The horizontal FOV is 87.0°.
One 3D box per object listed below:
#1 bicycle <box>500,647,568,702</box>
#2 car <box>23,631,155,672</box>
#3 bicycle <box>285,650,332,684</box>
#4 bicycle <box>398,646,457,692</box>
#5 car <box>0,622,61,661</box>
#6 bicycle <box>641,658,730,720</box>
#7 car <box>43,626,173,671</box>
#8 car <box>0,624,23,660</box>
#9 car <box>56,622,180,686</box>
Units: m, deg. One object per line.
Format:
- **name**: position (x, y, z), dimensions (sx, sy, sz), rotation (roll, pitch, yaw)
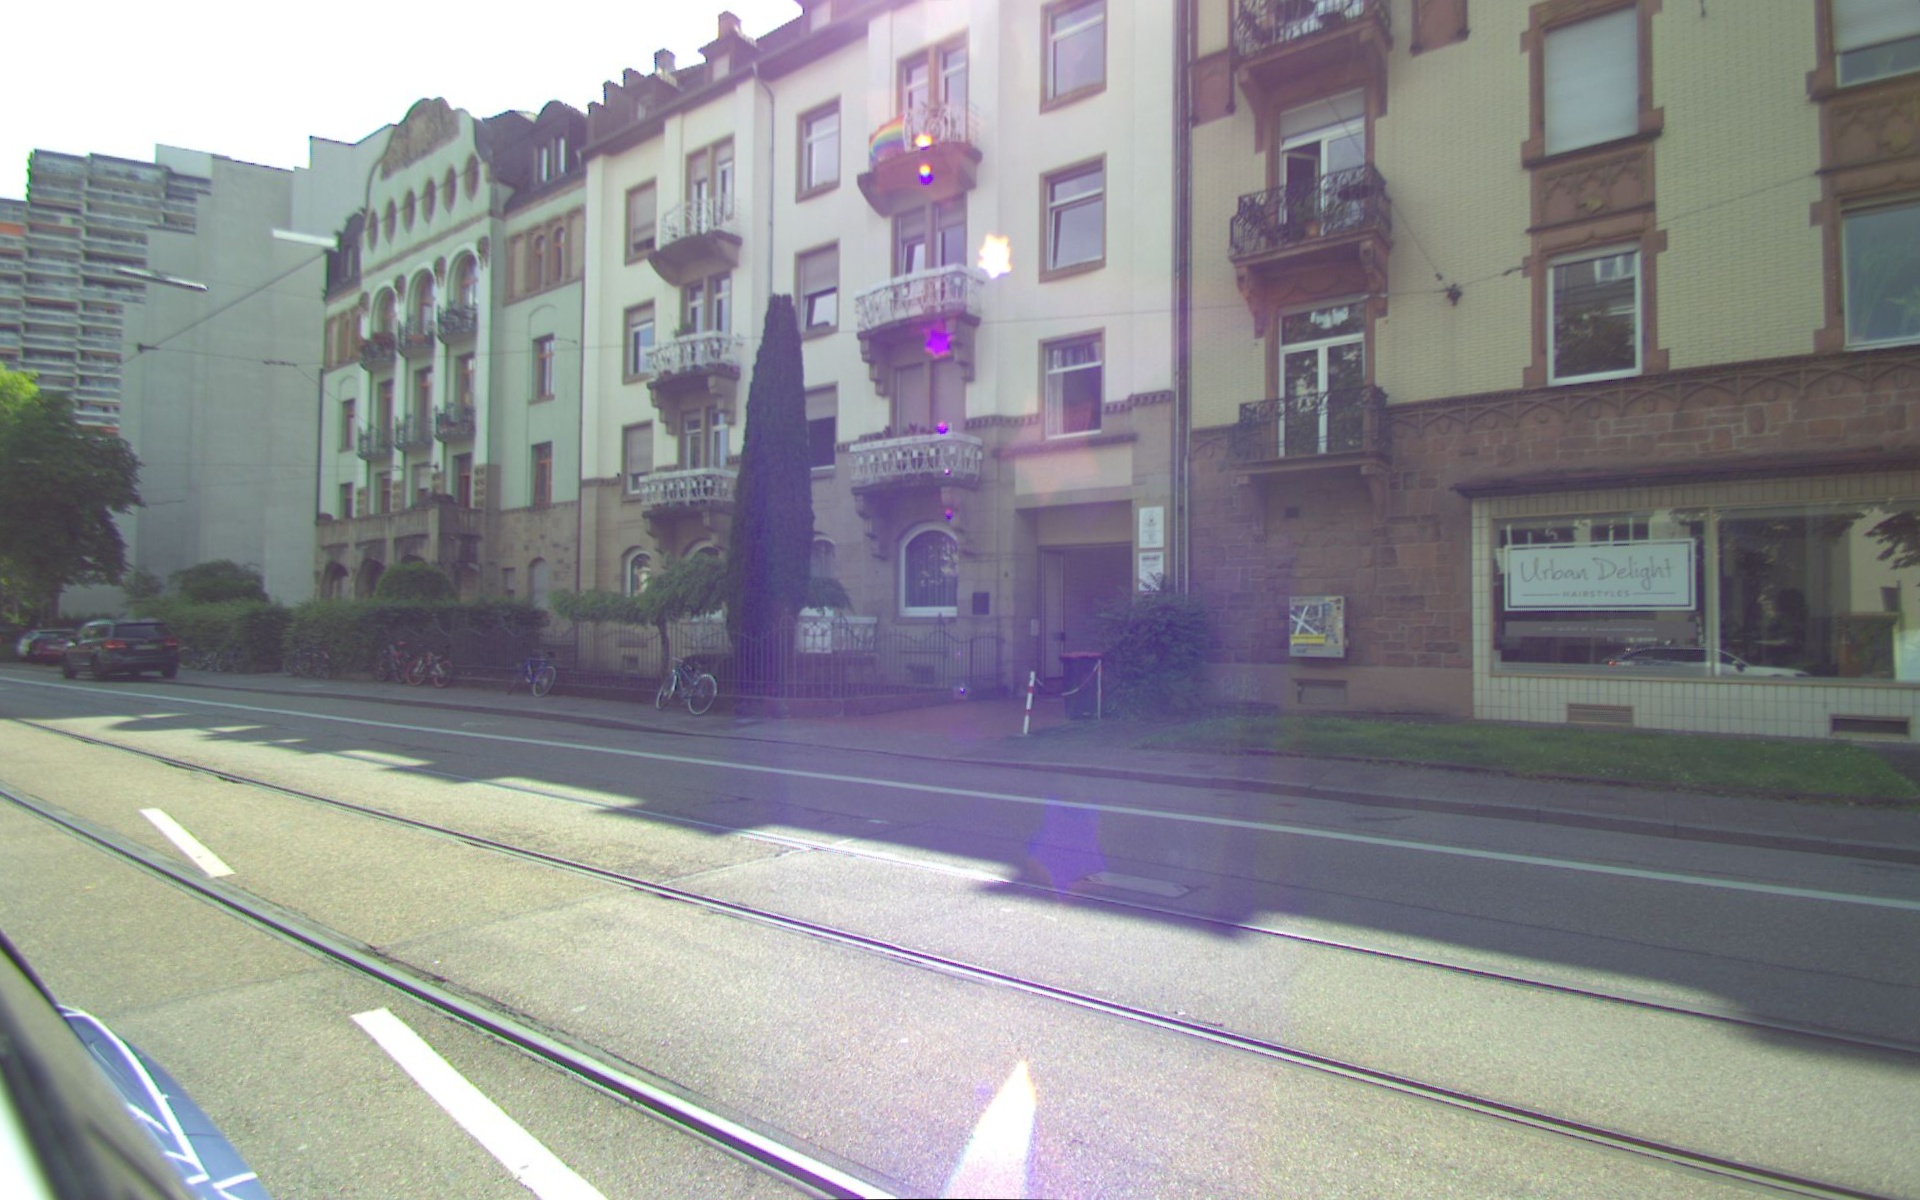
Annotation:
- **bicycle**: position (-8.872, 1.524, 21.040), dimensions (1.872, 1.037, 0.532), rotation (0, -2, 42)
- **car**: position (-35.382, 2.074, 41.192), dimensions (1.633, 1.548, 3.841), rotation (-1, -3, 39)
- **bicycle**: position (-17.525, 1.786, 27.224), dimensions (1.872, 0.803, 0.579), rotation (0, 0, 42)
- **bicycle**: position (-12.489, 1.592, 23.706), dimensions (1.872, 0.993, 0.579), rotation (0, -2, 42)
- **car**: position (-48.235, 2.074, 51.112), dimensions (1.829, 1.940, 3.947), rotation (-1, -3, 39)
- **bicycle**: position (-4.844, 1.533, 17.785), dimensions (2.068, 0.913, 0.517), rotation (1, -1, 45)
- **car**: position (-33.088, 1.855, 39.383), dimensions (1.608, 1.652, 3.587), rotation (-1, -2, 37)
- **car**: position (-51.278, 2.184, 52.533), dimensions (1.733, 1.857, 3.619), rotation (-1, -3, 37)
- **car**: position (-24.463, 1.527, 29.363), dimensions (4.324, 1.724, 1.775), rotation (-1, -3, 37)
